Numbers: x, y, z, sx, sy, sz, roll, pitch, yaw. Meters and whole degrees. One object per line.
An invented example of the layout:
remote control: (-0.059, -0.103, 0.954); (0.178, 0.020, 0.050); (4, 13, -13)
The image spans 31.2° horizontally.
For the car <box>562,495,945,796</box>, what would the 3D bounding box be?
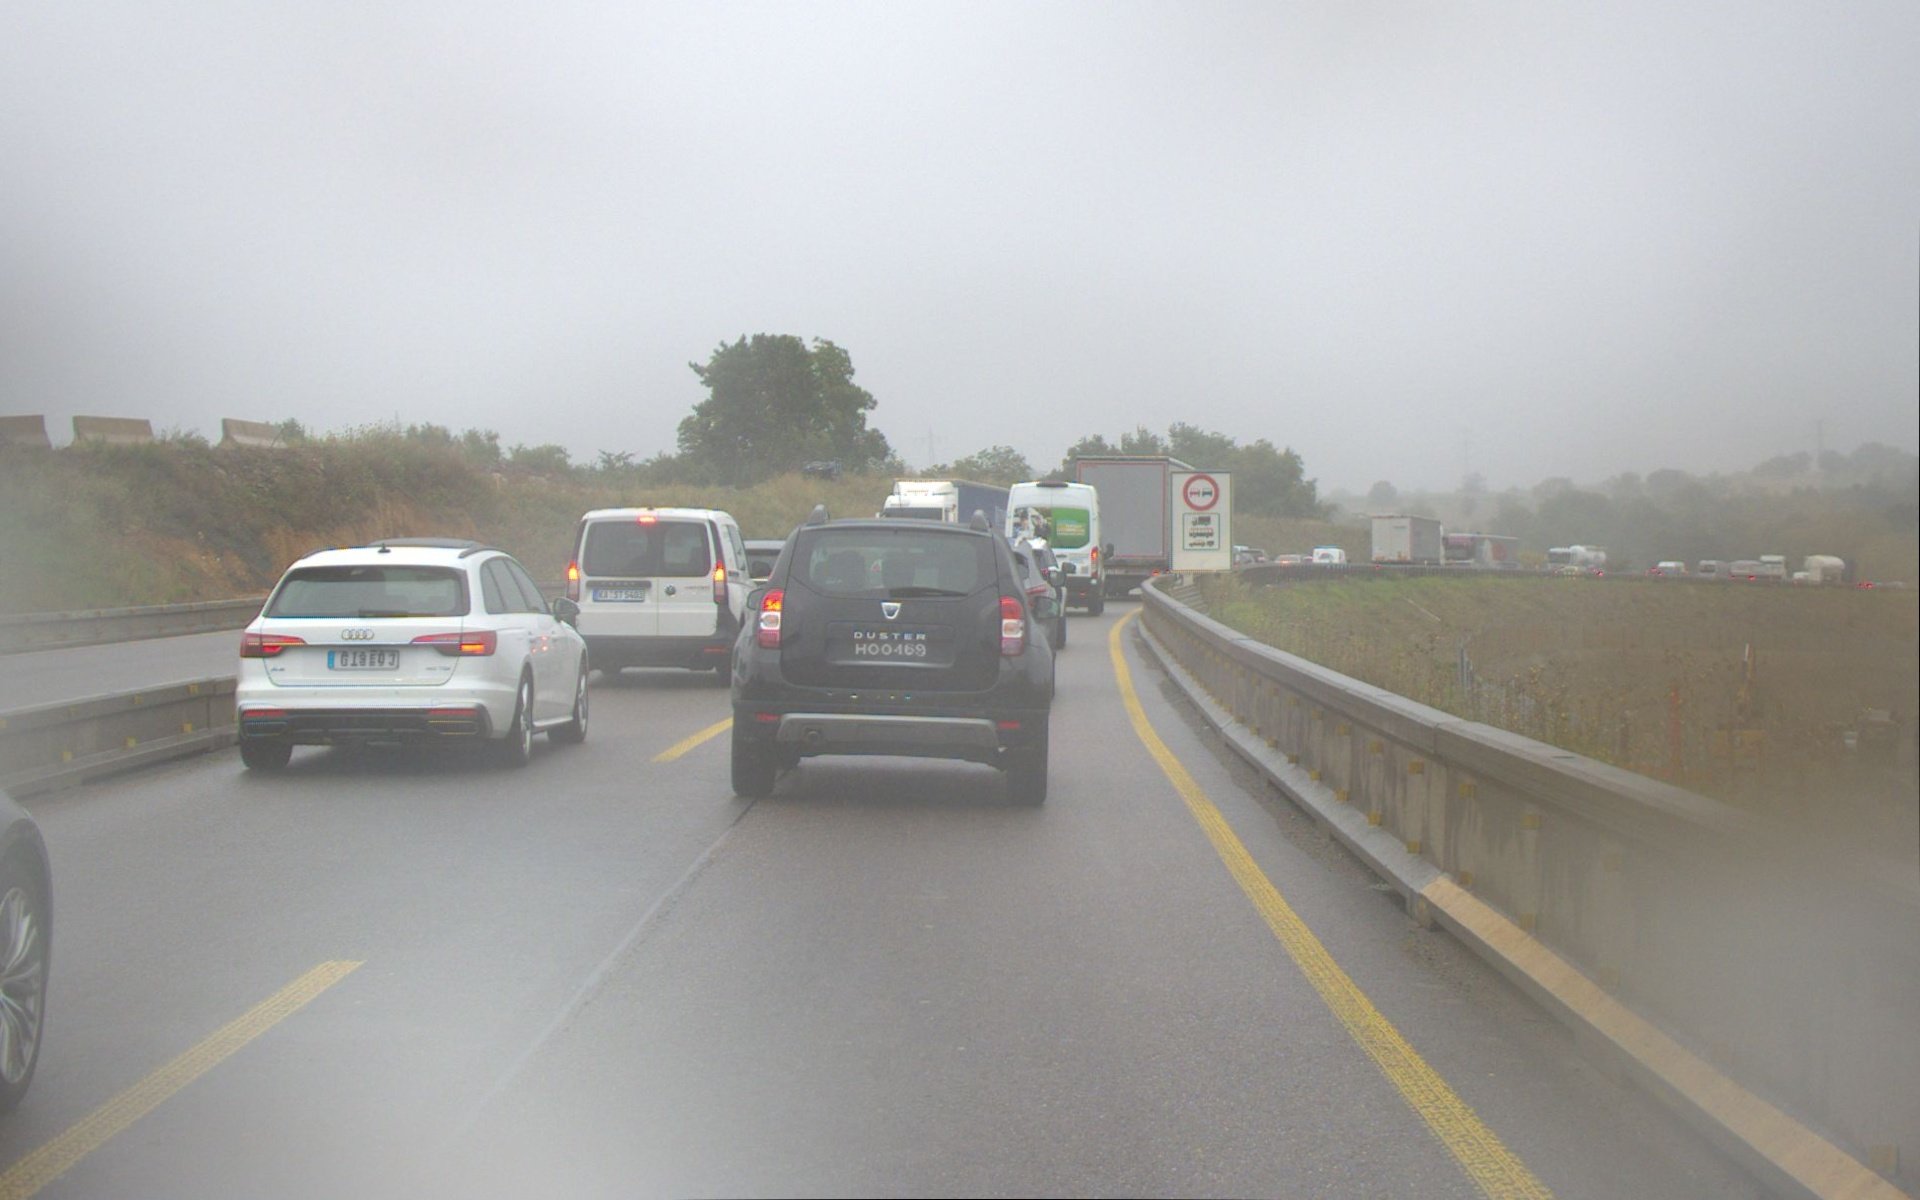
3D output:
car: (-1.130, 0.234, 20.638); (1.826, 1.585, 4.000); (1, 0, 3)

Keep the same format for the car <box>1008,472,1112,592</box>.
car: (2.149, -1.410, 72.728); (1.827, 2.429, 4.157); (1, 0, 6)

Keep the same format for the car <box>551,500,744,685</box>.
car: (-3.247, -0.087, 36.356); (1.826, 1.809, 4.000); (1, 0, -3)

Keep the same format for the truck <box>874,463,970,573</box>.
truck: (-1.414, -3.145, 130.812); (2.789, 4.021, 5.818); (2, 2, 7)

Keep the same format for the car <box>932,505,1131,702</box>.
car: (0.675, 0.017, 34.274); (1.826, 1.809, 4.000); (1, 0, 0)

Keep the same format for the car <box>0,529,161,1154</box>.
car: (-3.184, 0.644, 6.927); (1.735, 1.457, 5.630); (1, 3, 1)

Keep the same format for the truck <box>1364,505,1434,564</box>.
truck: (28.078, -4.209, 219.685); (3.474, 3.702, 8.412); (0, 1, 14)

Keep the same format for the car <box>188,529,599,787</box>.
car: (-3.598, 0.335, 22.532); (1.826, 1.494, 4.000); (1, 0, 3)

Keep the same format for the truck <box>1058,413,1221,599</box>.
truck: (5.308, -2.607, 99.686); (3.545, 5.060, 10.437); (1, 0, 9)

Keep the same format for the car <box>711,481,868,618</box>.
car: (-2.363, -0.693, 48.555); (1.826, 1.809, 4.000); (1, 0, 2)

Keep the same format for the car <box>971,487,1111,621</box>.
car: (1.204, -0.646, 49.303); (1.826, 1.809, 4.000); (1, 0, 3)
